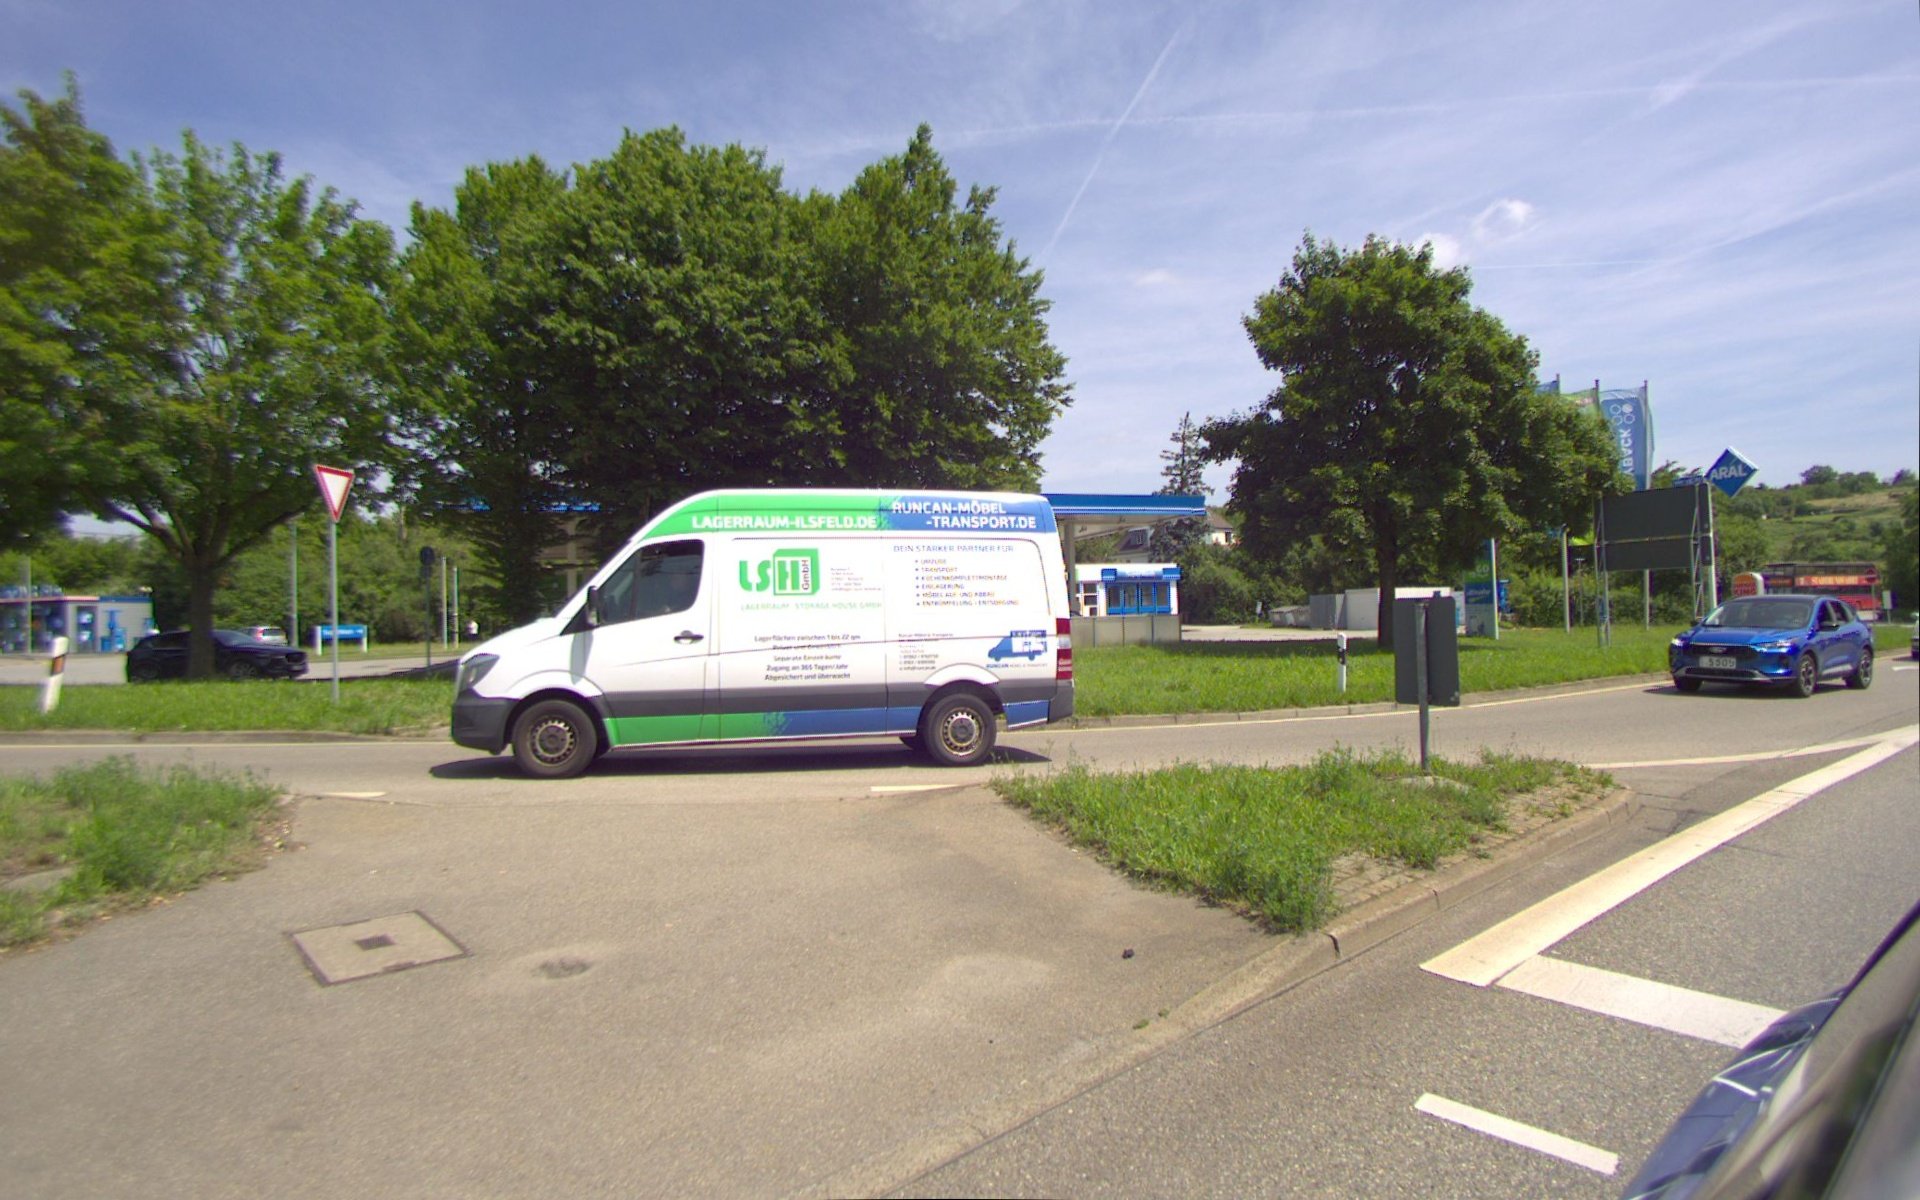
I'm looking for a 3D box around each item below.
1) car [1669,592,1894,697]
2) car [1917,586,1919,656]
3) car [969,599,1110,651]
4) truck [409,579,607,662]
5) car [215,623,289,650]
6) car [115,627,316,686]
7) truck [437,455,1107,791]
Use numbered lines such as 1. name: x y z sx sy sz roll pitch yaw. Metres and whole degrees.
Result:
1. car: 14.297 0.682 17.556 4.303 1.578 1.785 -1 0 -33
2. car: 25.991 0.460 25.606 4.444 1.713 1.866 -2 1 -37
3. car: 2.796 0.841 35.965 4.533 1.642 2.004 -1 1 -14
4. truck: -15.582 0.674 35.303 6.020 2.652 2.267 -1 -1 -16
5. car: -39.720 2.049 56.773 3.797 1.398 1.714 -1 -1 23
6. car: -20.603 1.541 28.126 4.238 1.380 1.760 -2 0 -1
7. truck: -1.691 0.243 10.033 5.818 2.773 2.076 0 -4 -13
